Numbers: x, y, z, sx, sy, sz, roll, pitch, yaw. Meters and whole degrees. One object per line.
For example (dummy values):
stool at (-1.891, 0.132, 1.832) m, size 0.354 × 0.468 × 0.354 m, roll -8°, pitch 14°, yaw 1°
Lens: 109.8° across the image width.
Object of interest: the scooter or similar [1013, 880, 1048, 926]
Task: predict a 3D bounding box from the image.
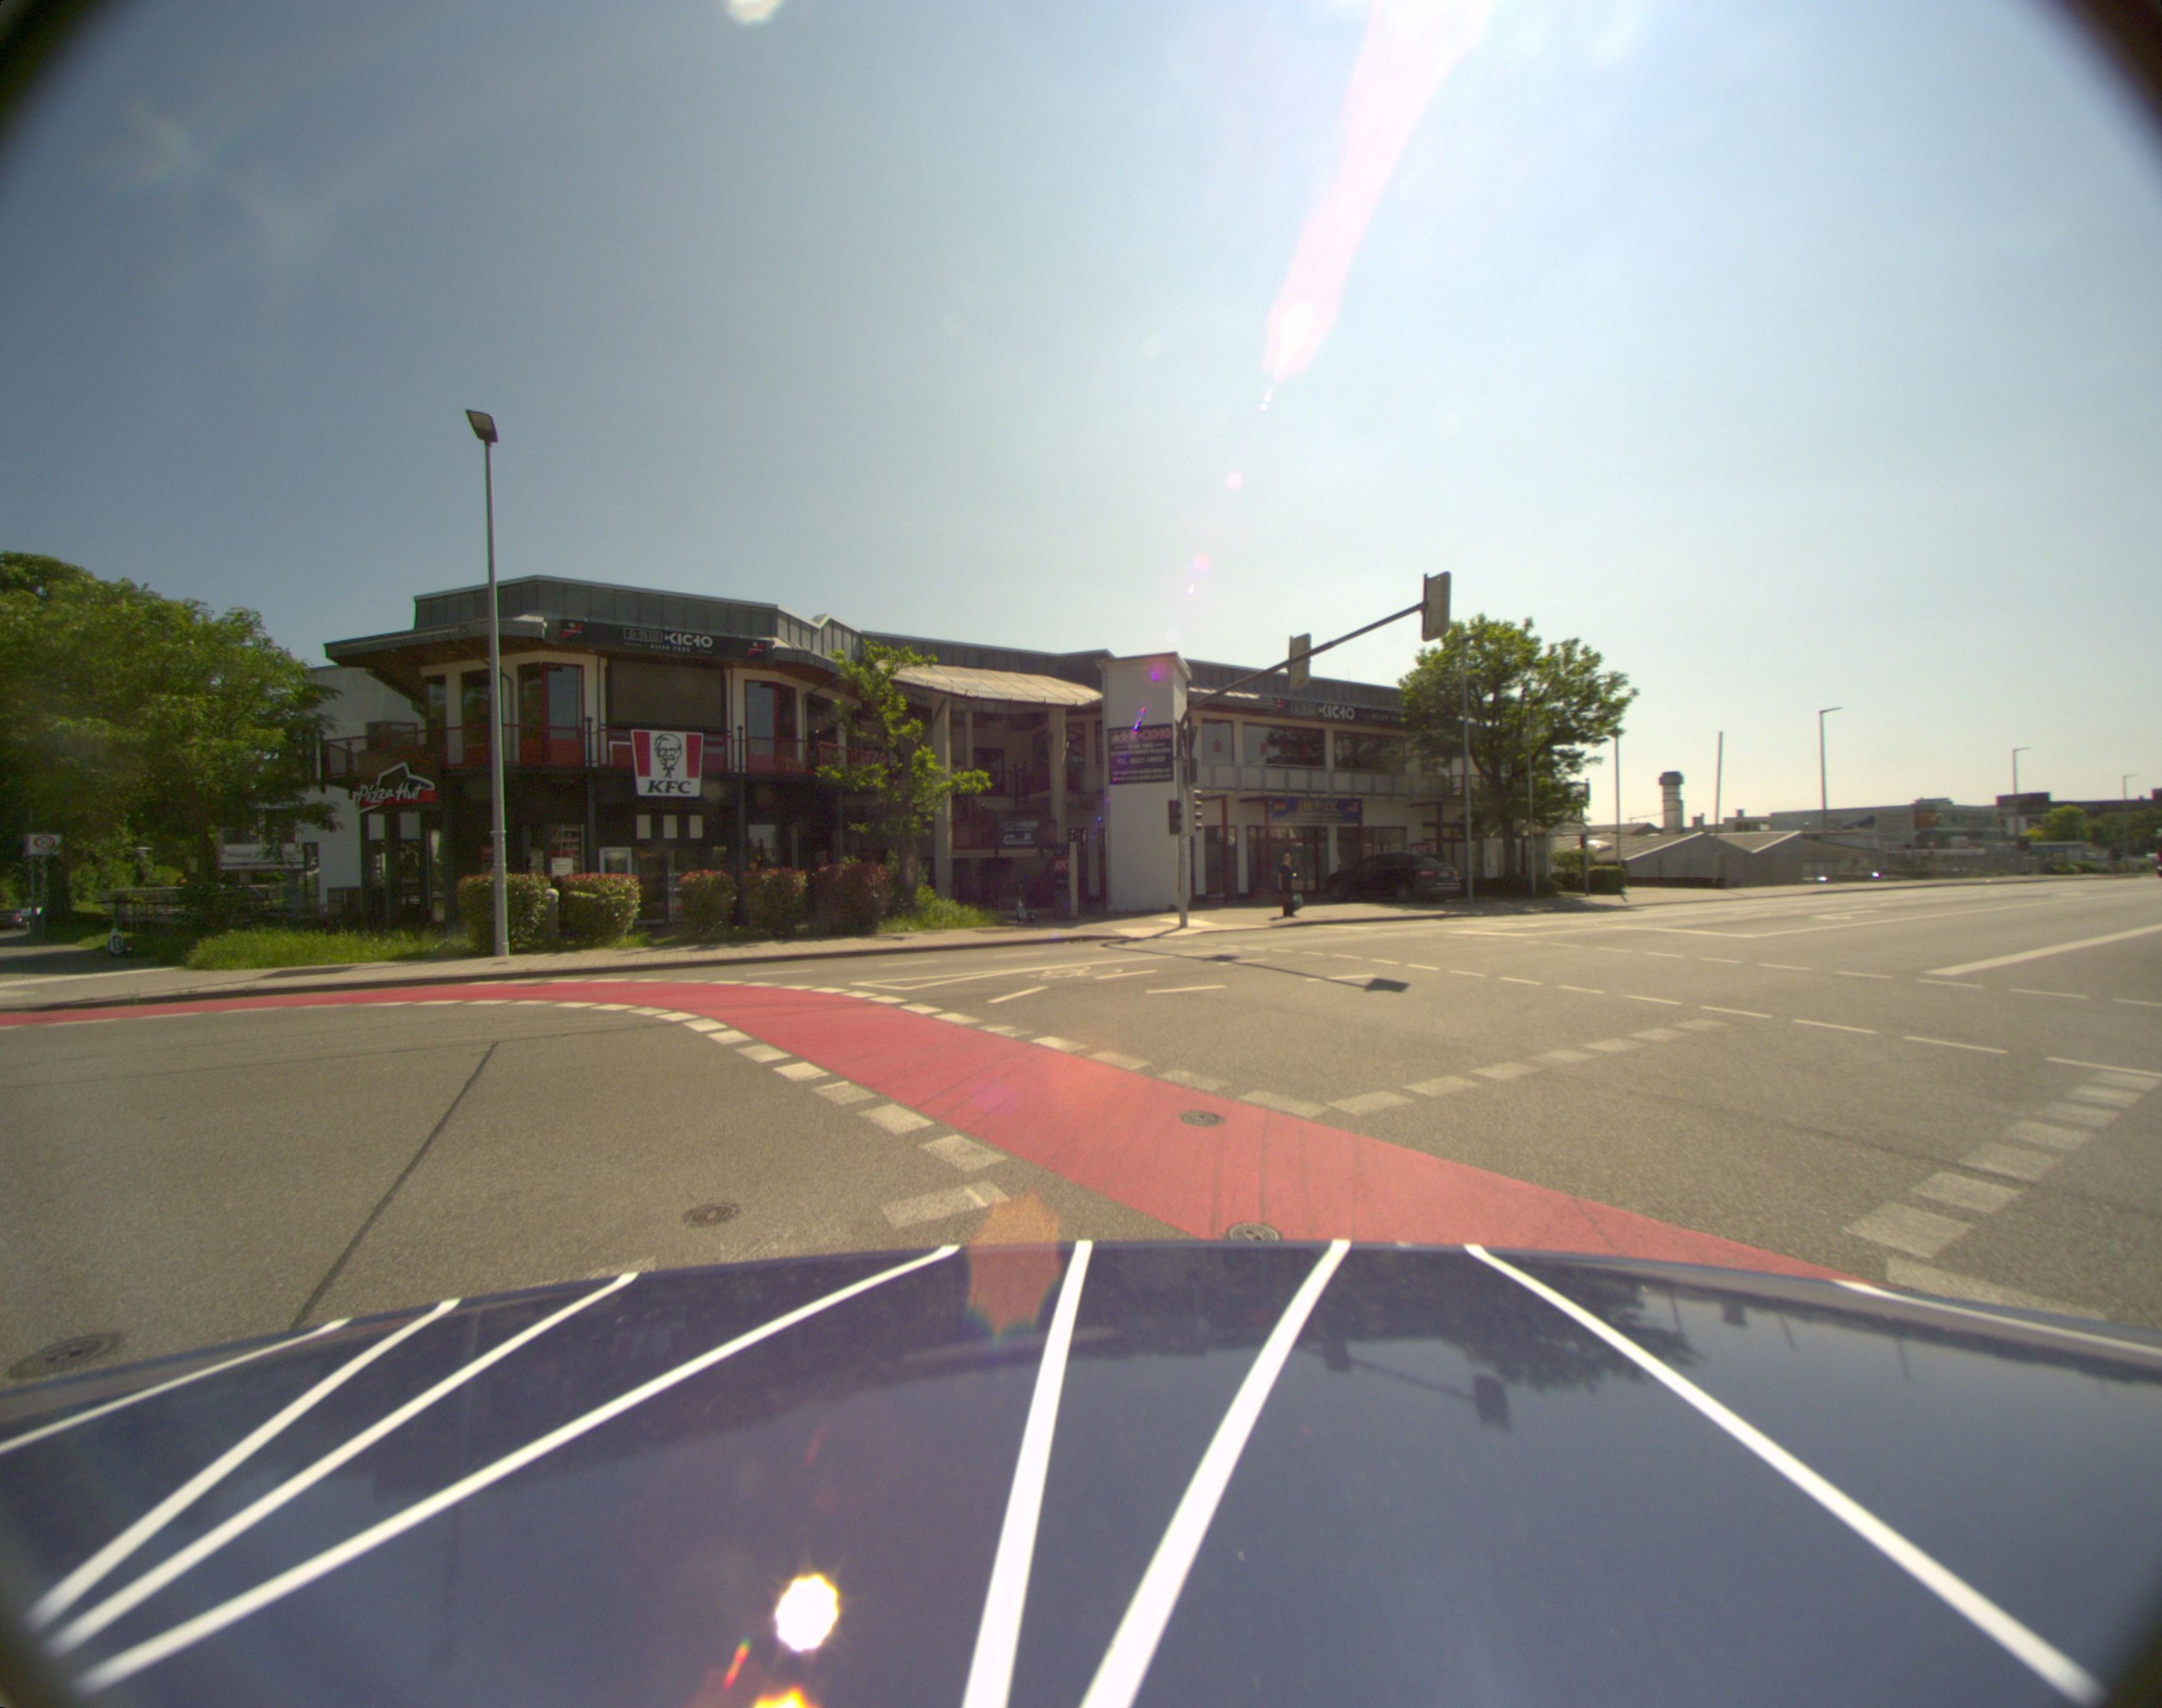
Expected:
scooter or similar at (-1.349, 1.261, 20.041) m, size 0.501 × 1.117 × 1.502 m, roll -1°, pitch 0°, yaw -20°

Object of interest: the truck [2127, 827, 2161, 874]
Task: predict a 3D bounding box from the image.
truck at (80.898, -0.324, 56.044) m, size 9.182 × 3.366 × 3.307 m, roll -1°, pitch 0°, yaw -29°

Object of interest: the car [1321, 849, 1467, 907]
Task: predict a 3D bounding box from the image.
car at (10.873, 0.782, 26.802) m, size 1.811 × 1.844 × 4.649 m, roll -1°, pitch 0°, yaw -28°

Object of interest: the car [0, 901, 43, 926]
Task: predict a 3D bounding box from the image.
car at (-69.856, 3.888, 49.655) m, size 1.677 × 1.427 × 3.989 m, roll -1°, pitch 0°, yaw -44°

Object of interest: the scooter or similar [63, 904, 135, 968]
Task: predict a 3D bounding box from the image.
scooter or similar at (-19.335, 1.583, 14.984) m, size 0.428 × 1.117 × 1.448 m, roll -1°, pitch 0°, yaw -34°

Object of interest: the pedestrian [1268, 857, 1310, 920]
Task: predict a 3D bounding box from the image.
pedestrian at (5.591, 0.910, 20.413) m, size 0.839 × 1.636 × 0.735 m, roll -1°, pitch 0°, yaw 36°
